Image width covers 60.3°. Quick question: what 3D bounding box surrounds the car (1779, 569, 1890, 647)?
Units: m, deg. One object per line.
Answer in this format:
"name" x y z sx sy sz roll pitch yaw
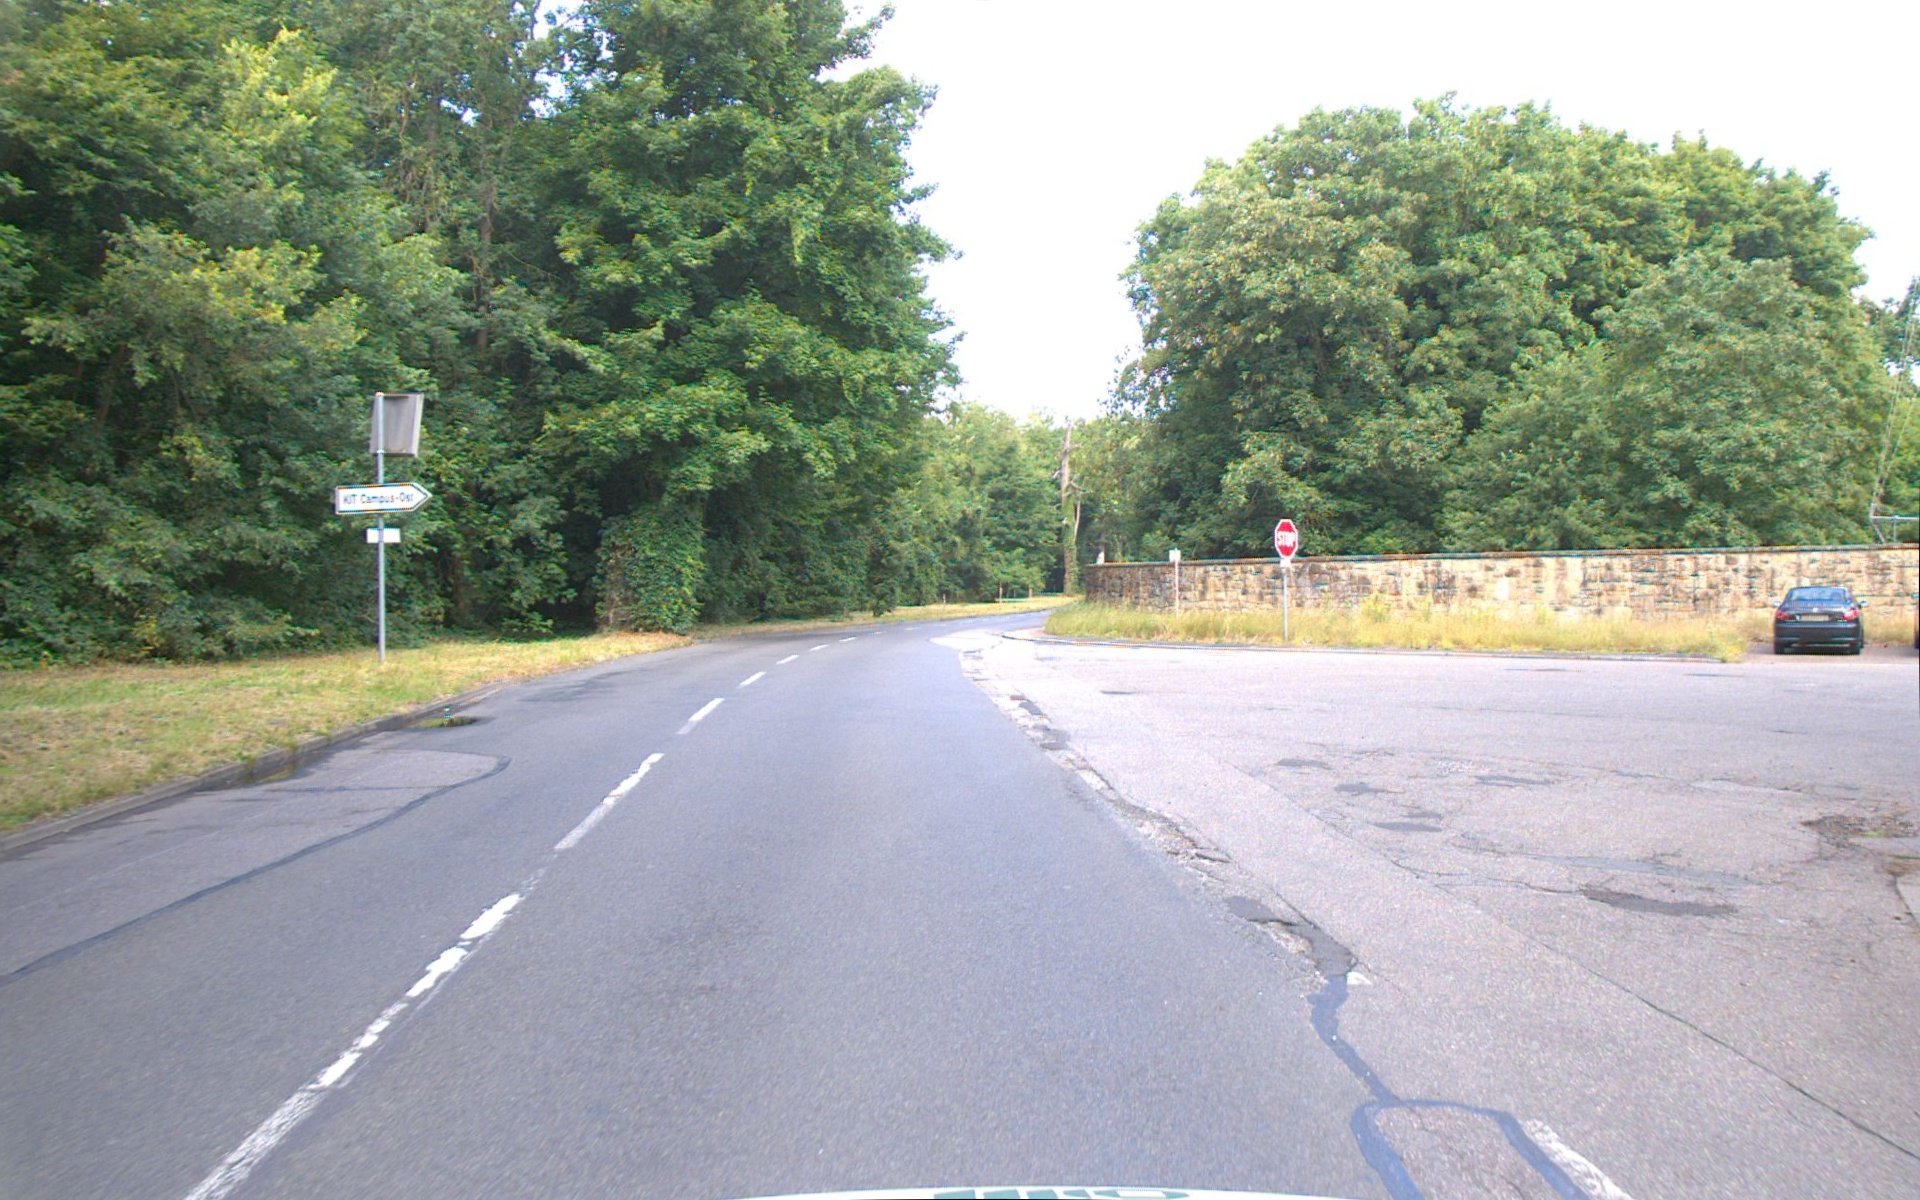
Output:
"car" 18.788 0.127 35.458 1.839 1.466 3.991 0 2 32
